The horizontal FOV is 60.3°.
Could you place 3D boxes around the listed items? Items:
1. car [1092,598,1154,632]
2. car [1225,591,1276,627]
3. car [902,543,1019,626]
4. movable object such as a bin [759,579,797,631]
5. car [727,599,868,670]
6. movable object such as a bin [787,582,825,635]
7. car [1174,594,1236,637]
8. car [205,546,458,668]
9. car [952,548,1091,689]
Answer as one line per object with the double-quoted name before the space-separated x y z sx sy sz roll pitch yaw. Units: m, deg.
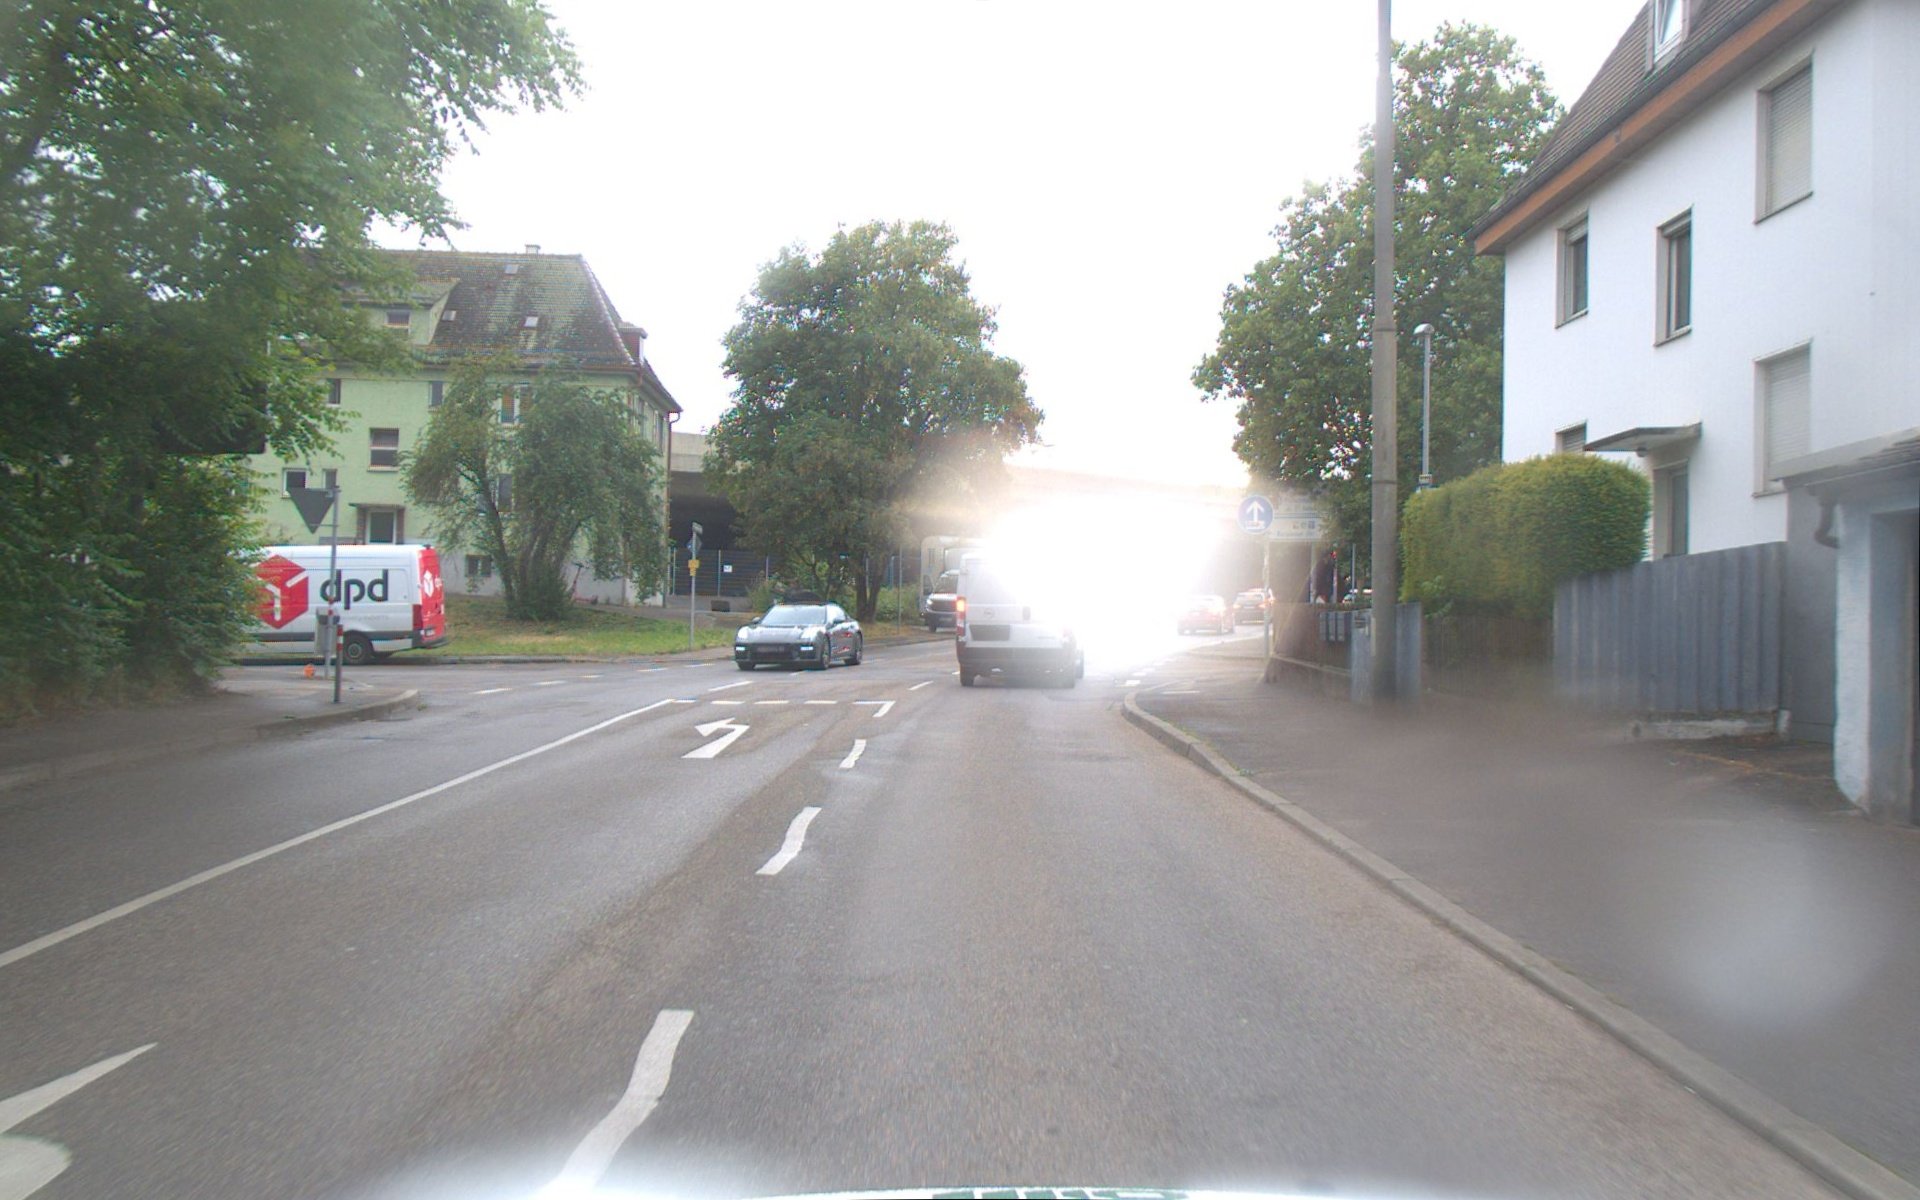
"car" 7.372 0.679 74.316 1.951 1.482 4.832 -1 -1 16
"car" 13.136 0.386 74.676 1.728 1.537 3.757 1 0 18
"car" 0.134 -0.585 65.105 2.481 3.071 7.213 1 0 18
"movable object such as a bin" -5.979 0.161 54.522 0.921 1.591 1.131 6 1 4
"car" -3.508 0.757 36.746 1.951 1.482 4.833 0 -1 9
"movable object such as a bin" -4.927 0.272 52.989 0.921 1.591 1.131 6 1 4
"car" 9.293 0.567 62.561 1.728 1.537 3.757 1 0 18
"car" -14.267 0.140 37.779 4.944 2.674 2.153 0 0 -2
"car" 1.210 0.292 29.886 2.101 2.323 5.066 1 0 7
